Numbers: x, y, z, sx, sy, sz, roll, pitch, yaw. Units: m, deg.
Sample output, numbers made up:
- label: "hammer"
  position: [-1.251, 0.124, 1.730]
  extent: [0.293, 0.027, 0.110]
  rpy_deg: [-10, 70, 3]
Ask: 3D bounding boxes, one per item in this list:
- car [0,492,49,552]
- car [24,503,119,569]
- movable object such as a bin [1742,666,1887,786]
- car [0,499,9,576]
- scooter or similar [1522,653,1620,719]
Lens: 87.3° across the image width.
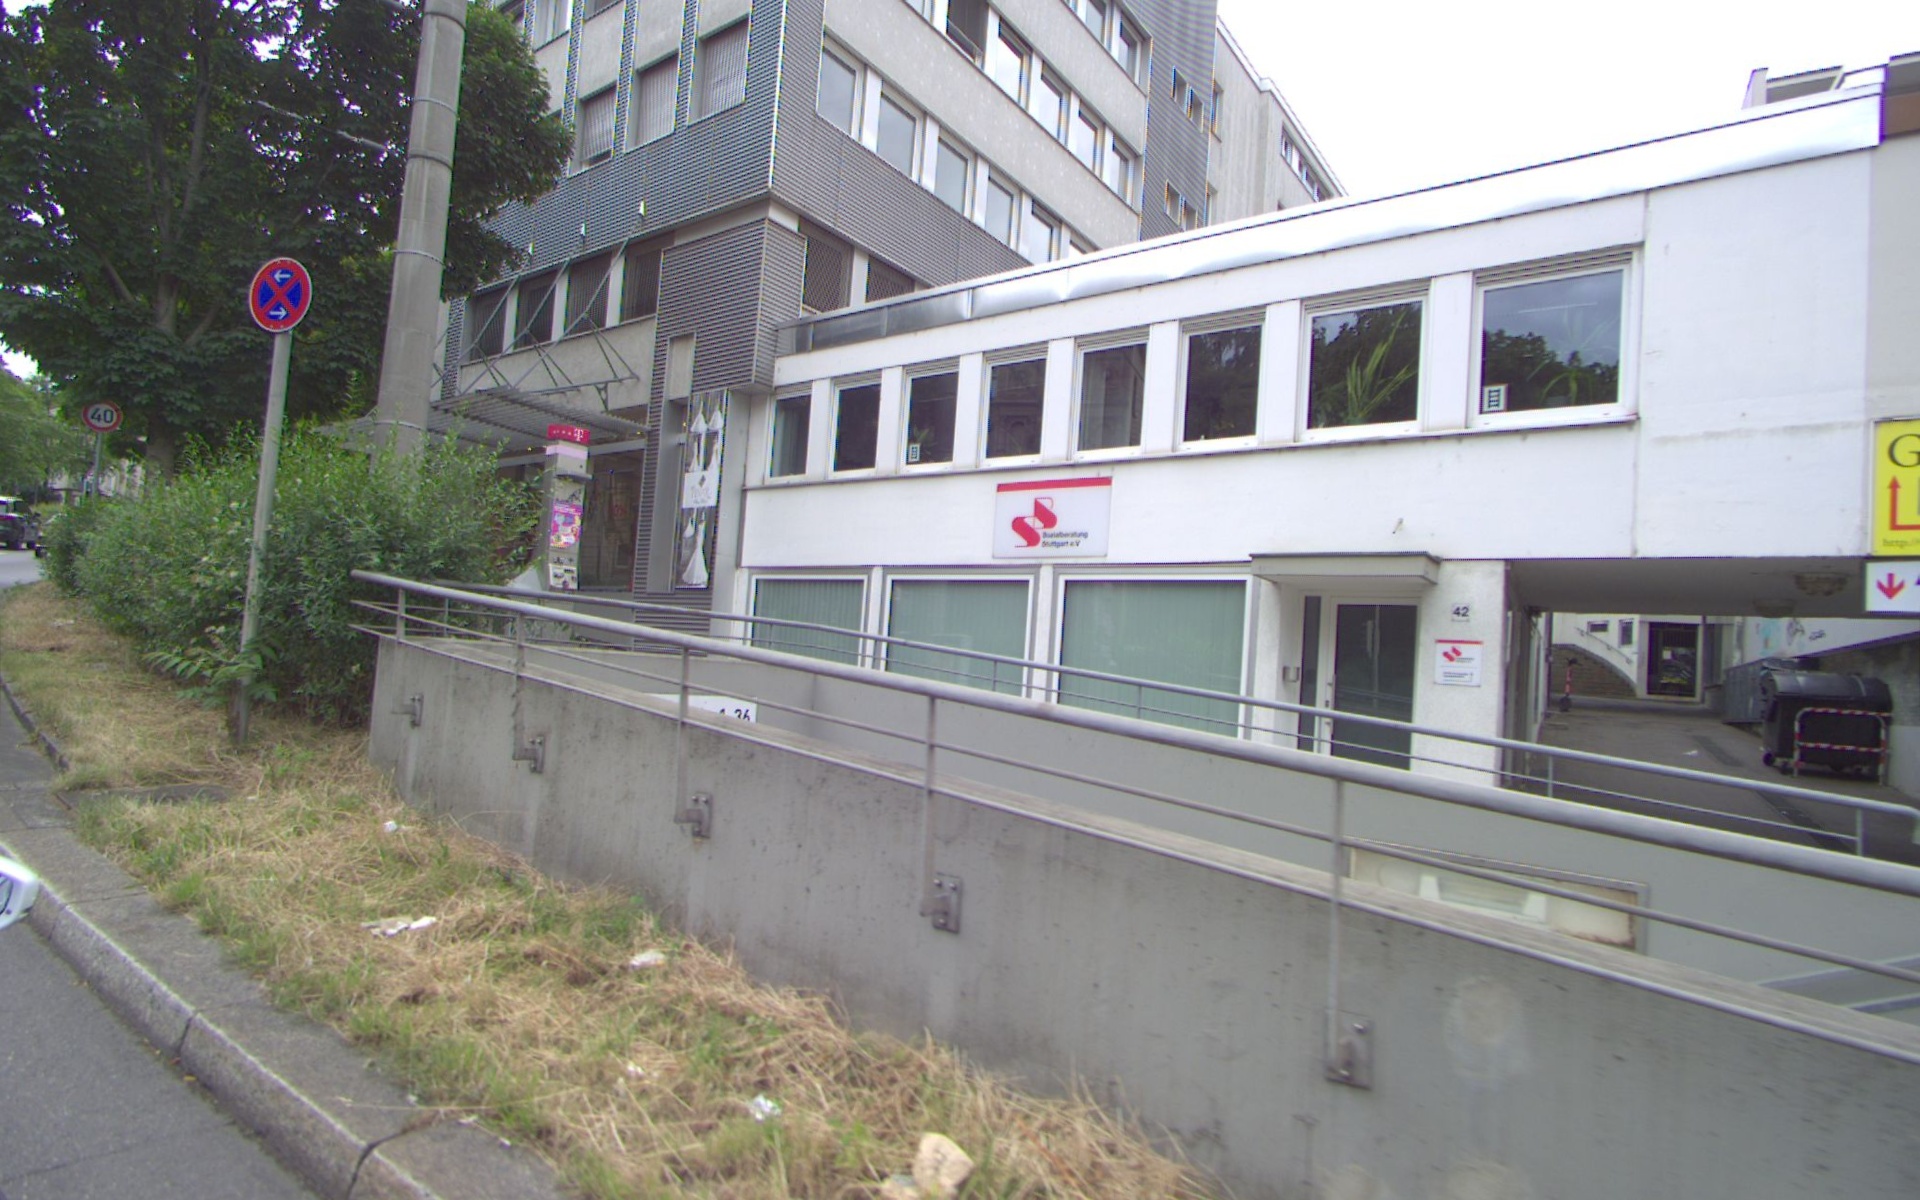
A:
- label: "car"
  position: [-31.457, -2.612, 32.825]
  extent: [1.829, 1.759, 3.965]
  rpy_deg: [9, -3, -34]
- label: "car"
  position: [-27.323, -1.918, 30.988]
  extent: [1.898, 1.590, 3.792]
  rpy_deg: [11, -6, -41]
- label: "movable object such as a bin"
  position: [12.551, 1.810, 14.852]
  extent: [1.331, 1.476, 1.237]
  rpy_deg: [5, 3, 31]
- label: "car"
  position: [-18.038, -1.160, 17.217]
  extent: [1.928, 1.584, 4.008]
  rpy_deg: [8, -3, -36]
- label: "scooter or similar"
  position: [14.282, 2.001, 23.532]
  extent: [1.786, 1.293, 0.778]
  rpy_deg: [4, -5, 41]
